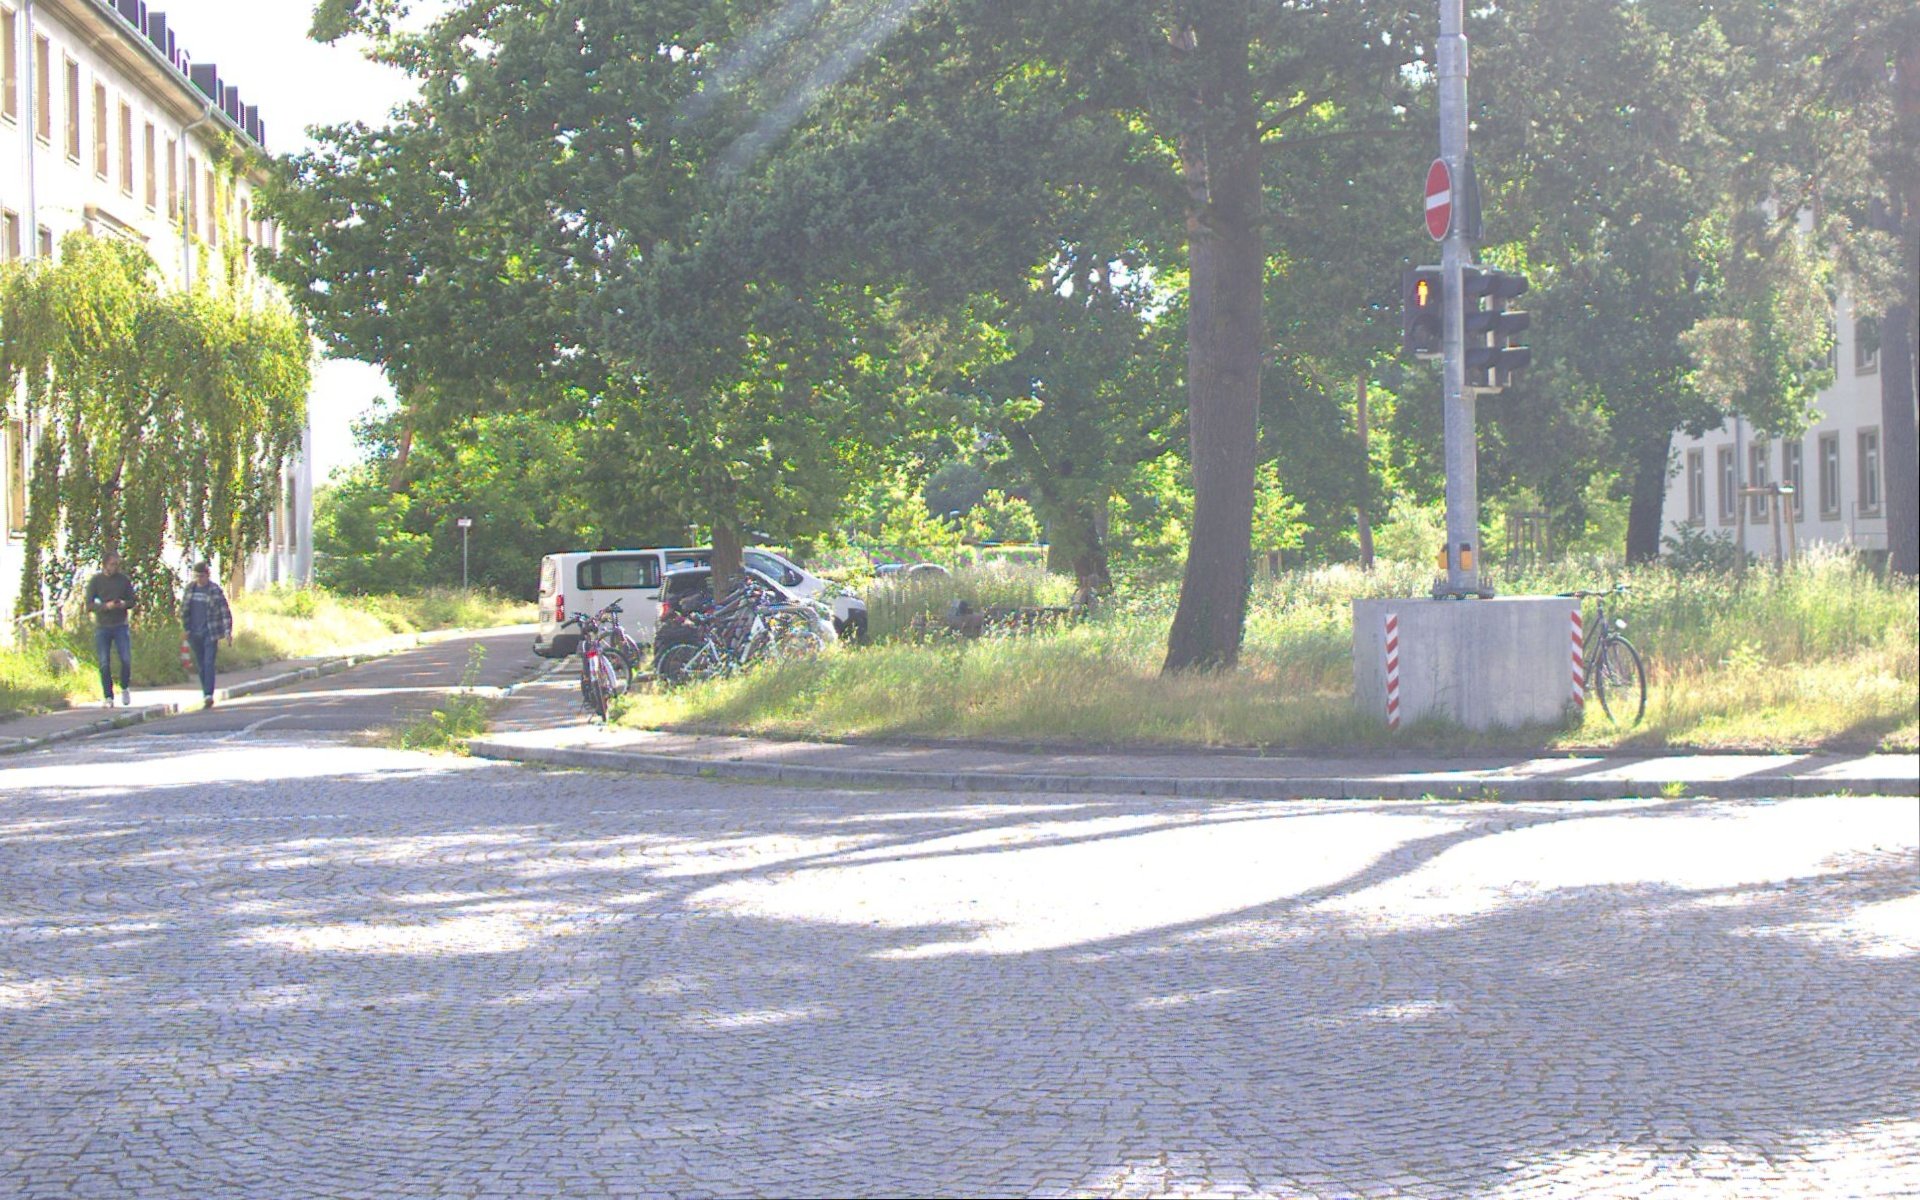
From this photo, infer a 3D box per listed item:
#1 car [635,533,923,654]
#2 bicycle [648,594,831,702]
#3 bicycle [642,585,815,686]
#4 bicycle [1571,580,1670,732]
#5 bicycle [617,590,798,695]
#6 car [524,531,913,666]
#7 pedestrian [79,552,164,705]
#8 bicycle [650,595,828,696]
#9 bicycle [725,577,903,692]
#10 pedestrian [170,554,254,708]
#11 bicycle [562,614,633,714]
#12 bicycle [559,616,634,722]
[{"bbox_3d":[-2.688,-0.106,50.673,3.986,1.678,1.848,-1,1,-12],"label":"car"},{"bbox_3d":[-2.424,0.516,37.725,1.940,1.125,0.750,-1,1,-7],"label":"bicycle"},{"bbox_3d":[-2.703,0.405,40.023,1.940,1.125,0.648,-1,1,-9],"label":"bicycle"},{"bbox_3d":[4.840,0.400,25.224,0.466,1.076,1.174,-1,0,-1],"label":"bicycle"},{"bbox_3d":[-2.853,0.465,38.914,1.941,1.125,0.648,-1,1,-31],"label":"bicycle"},{"bbox_3d":[-3.906,-0.043,55.096,5.929,2.007,2.476,-1,1,-11],"label":"car"},{"bbox_3d":[-10.082,0.335,41.351,0.812,1.811,0.555,-1,1,7],"label":"pedestrian"},{"bbox_3d":[-2.378,0.482,36.929,1.854,1.027,0.750,-1,1,-7],"label":"bicycle"},{"bbox_3d":[-1.637,0.382,38.474,1.940,1.231,0.485,-1,1,-7],"label":"bicycle"},{"bbox_3d":[-8.993,0.366,41.339,0.767,1.811,0.682,-1,1,7],"label":"pedestrian"},{"bbox_3d":[-3.725,0.646,35.294,0.695,0.968,1.861,-1,1,-6],"label":"bicycle"},{"bbox_3d":[-3.526,0.658,33.373,0.695,0.968,1.861,-1,1,-6],"label":"bicycle"}]
